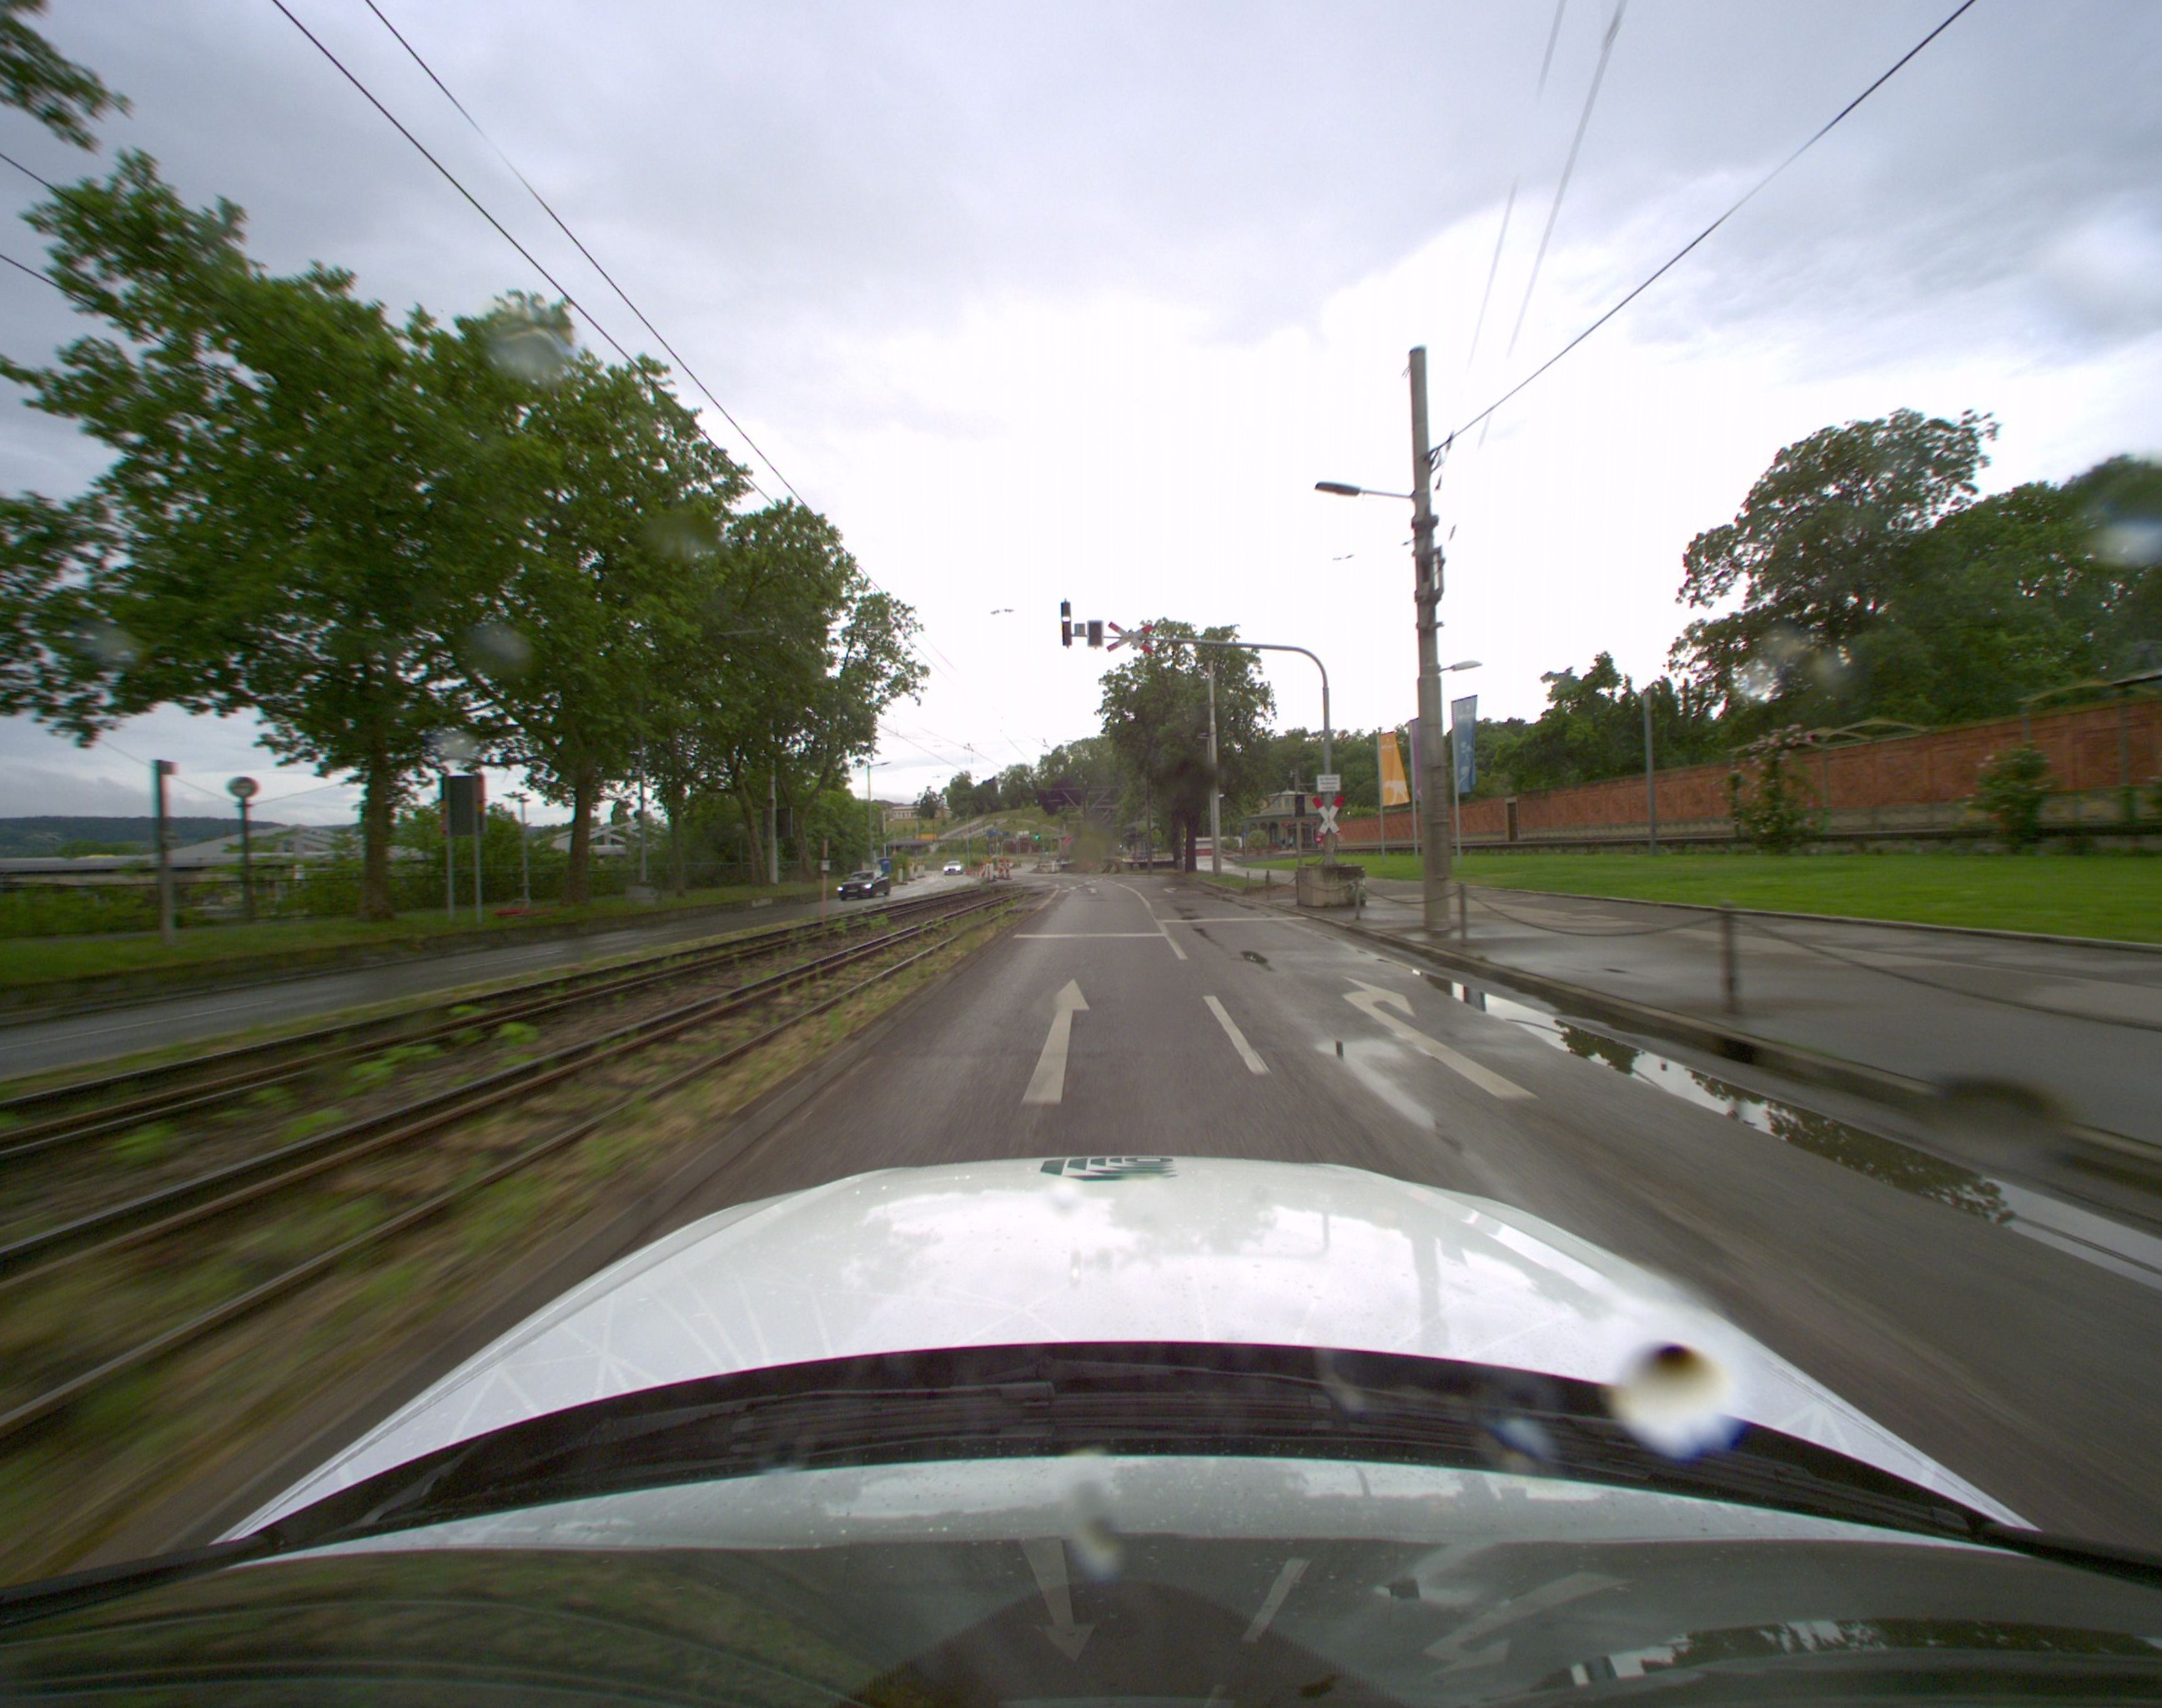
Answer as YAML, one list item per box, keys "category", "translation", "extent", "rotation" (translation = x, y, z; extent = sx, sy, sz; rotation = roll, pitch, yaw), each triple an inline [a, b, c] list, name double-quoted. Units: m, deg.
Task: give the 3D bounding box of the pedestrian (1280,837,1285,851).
- category: "pedestrian"
  translation: [24.216, -1.198, 98.005]
  extent: [0.527, 1.711, 0.698]
  rotation: [0, -2, 14]

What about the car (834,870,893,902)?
- category: "car"
  translation: [-11.386, 1.634, 43.003]
  extent: [1.740, 1.430, 4.561]
  rotation: [-4, 0, 1]

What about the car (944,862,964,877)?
- category: "car"
  translation: [-14.005, 1.689, 89.976]
  extent: [1.705, 1.499, 4.714]
  rotation: [-3, 0, -3]

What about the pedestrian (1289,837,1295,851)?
- category: "pedestrian"
  translation: [25.173, -1.201, 97.274]
  extent: [0.544, 1.657, 0.472]
  rotation: [-3, -2, 36]
